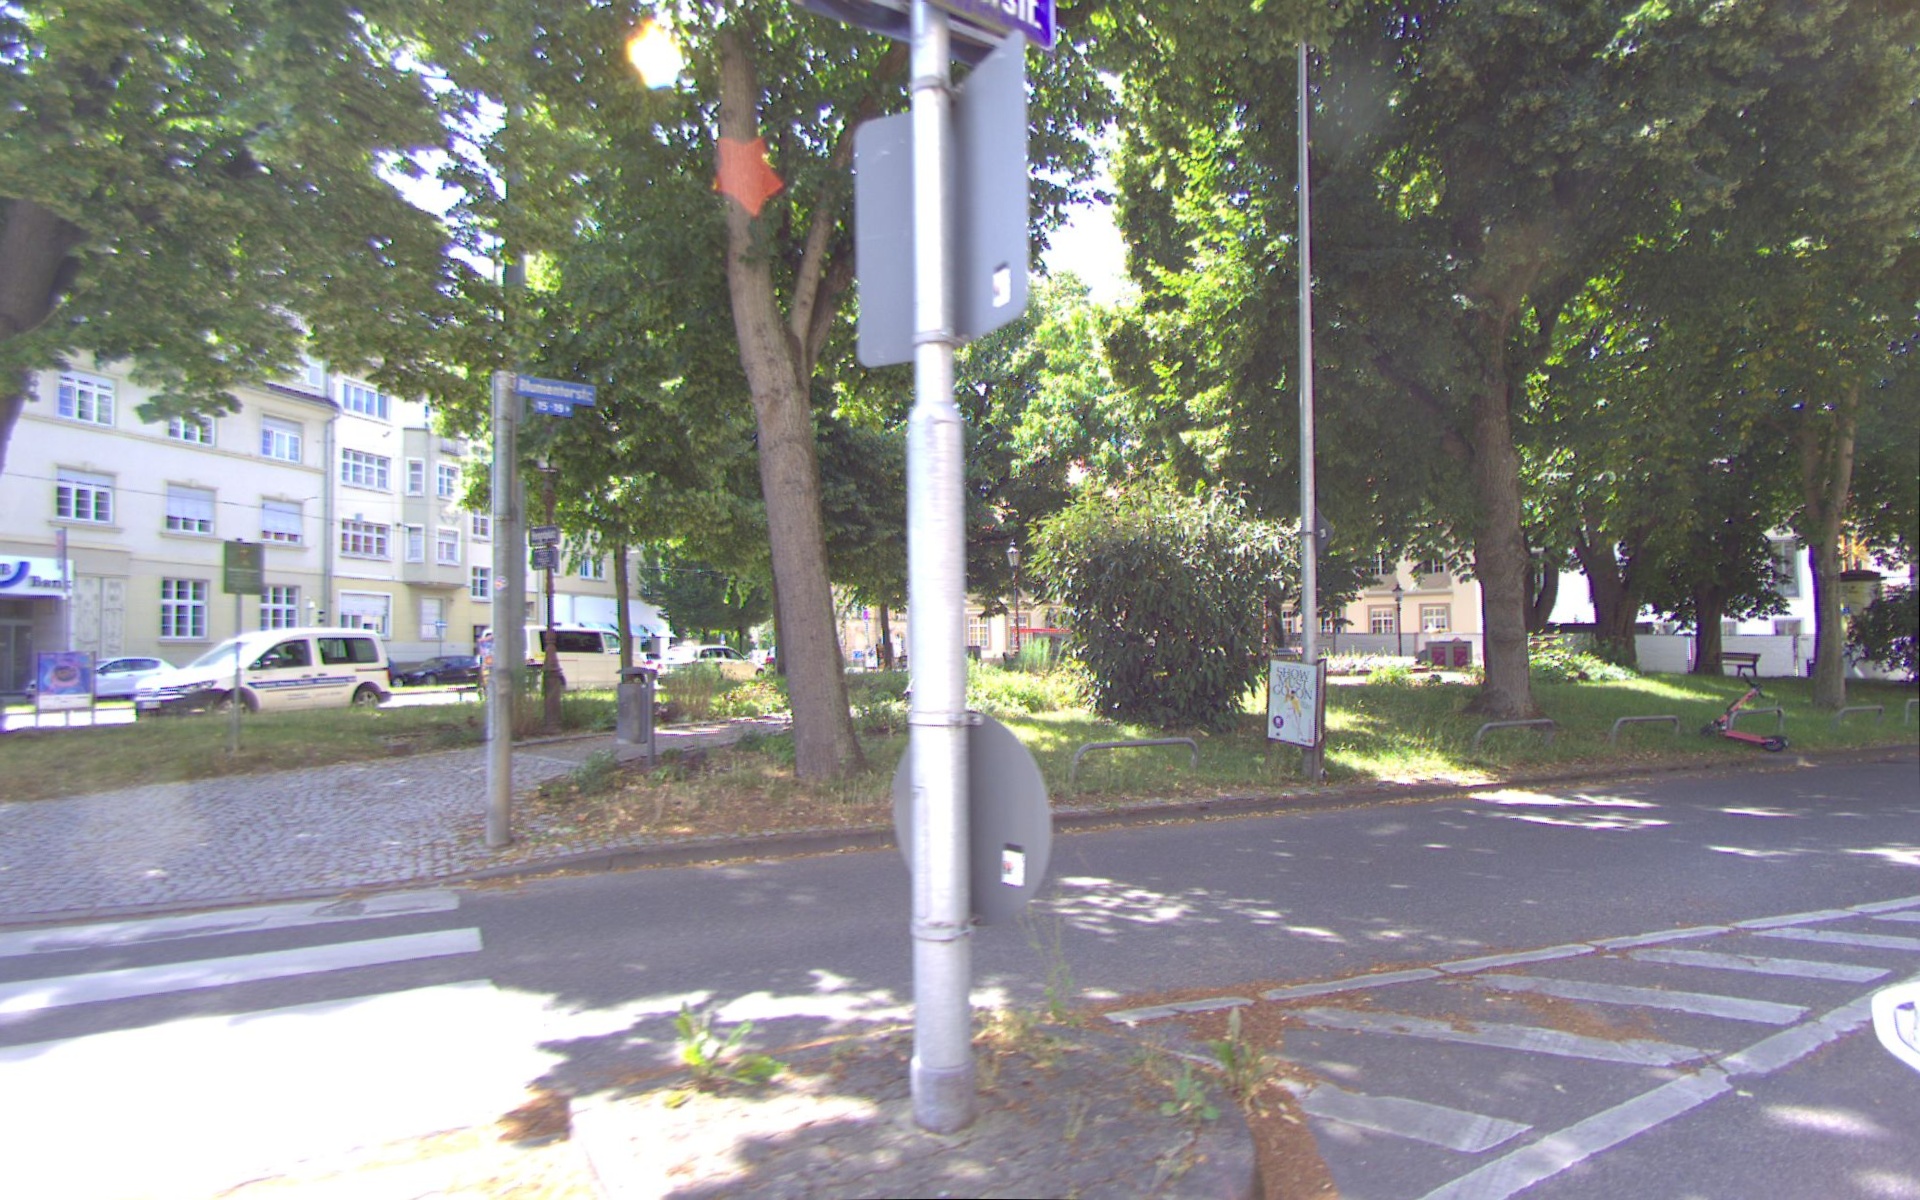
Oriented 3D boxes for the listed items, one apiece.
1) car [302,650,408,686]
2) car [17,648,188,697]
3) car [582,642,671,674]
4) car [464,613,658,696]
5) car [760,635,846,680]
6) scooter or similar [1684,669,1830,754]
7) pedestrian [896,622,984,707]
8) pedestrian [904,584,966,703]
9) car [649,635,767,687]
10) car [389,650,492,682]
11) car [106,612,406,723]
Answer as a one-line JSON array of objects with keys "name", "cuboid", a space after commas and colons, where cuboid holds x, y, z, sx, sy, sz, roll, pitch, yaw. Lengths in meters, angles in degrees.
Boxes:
[{"name": "car", "cuboid": [-24.592, 2.751, 40.965, 1.575, 1.294, 3.588, -4, -4, 17]}, {"name": "car", "cuboid": [-27.149, 2.261, 31.973, 1.658, 1.408, 3.859, -4, -4, 17]}, {"name": "car", "cuboid": [-18.234, 3.168, 55.016, 4.132, 1.524, 2.006, -4, -4, 13]}, {"name": "car", "cuboid": [-10.674, 1.468, 27.380, 2.015, 2.028, 5.251, -2, -3, 18]}, {"name": "car", "cuboid": [-6.343, 2.343, 41.006, 1.753, 1.715, 4.202, -2, -3, 18]}, {"name": "scooter or similar", "cuboid": [12.032, 1.650, 15.184, 1.436, 1.005, 1.264, 2, 5, -33]}, {"name": "pedestrian", "cuboid": [-0.313, 1.005, 15.959, 0.893, 1.268, 1.145, -2, -2, 32]}, {"name": "pedestrian", "cuboid": [-0.414, 0.732, 16.849, 0.737, 1.936, 0.682, -2, -2, 33]}, {"name": "car", "cuboid": [-8.501, 2.061, 34.306, 1.753, 1.645, 4.487, -2, -3, 18]}, {"name": "car", "cuboid": [-23.296, 2.942, 45.231, 1.614, 1.294, 4.266, -4, -4, 17]}, {"name": "car", "cuboid": [-13.226, 1.260, 19.269, 1.960, 1.850, 4.425, -2, -3, 17]}]
